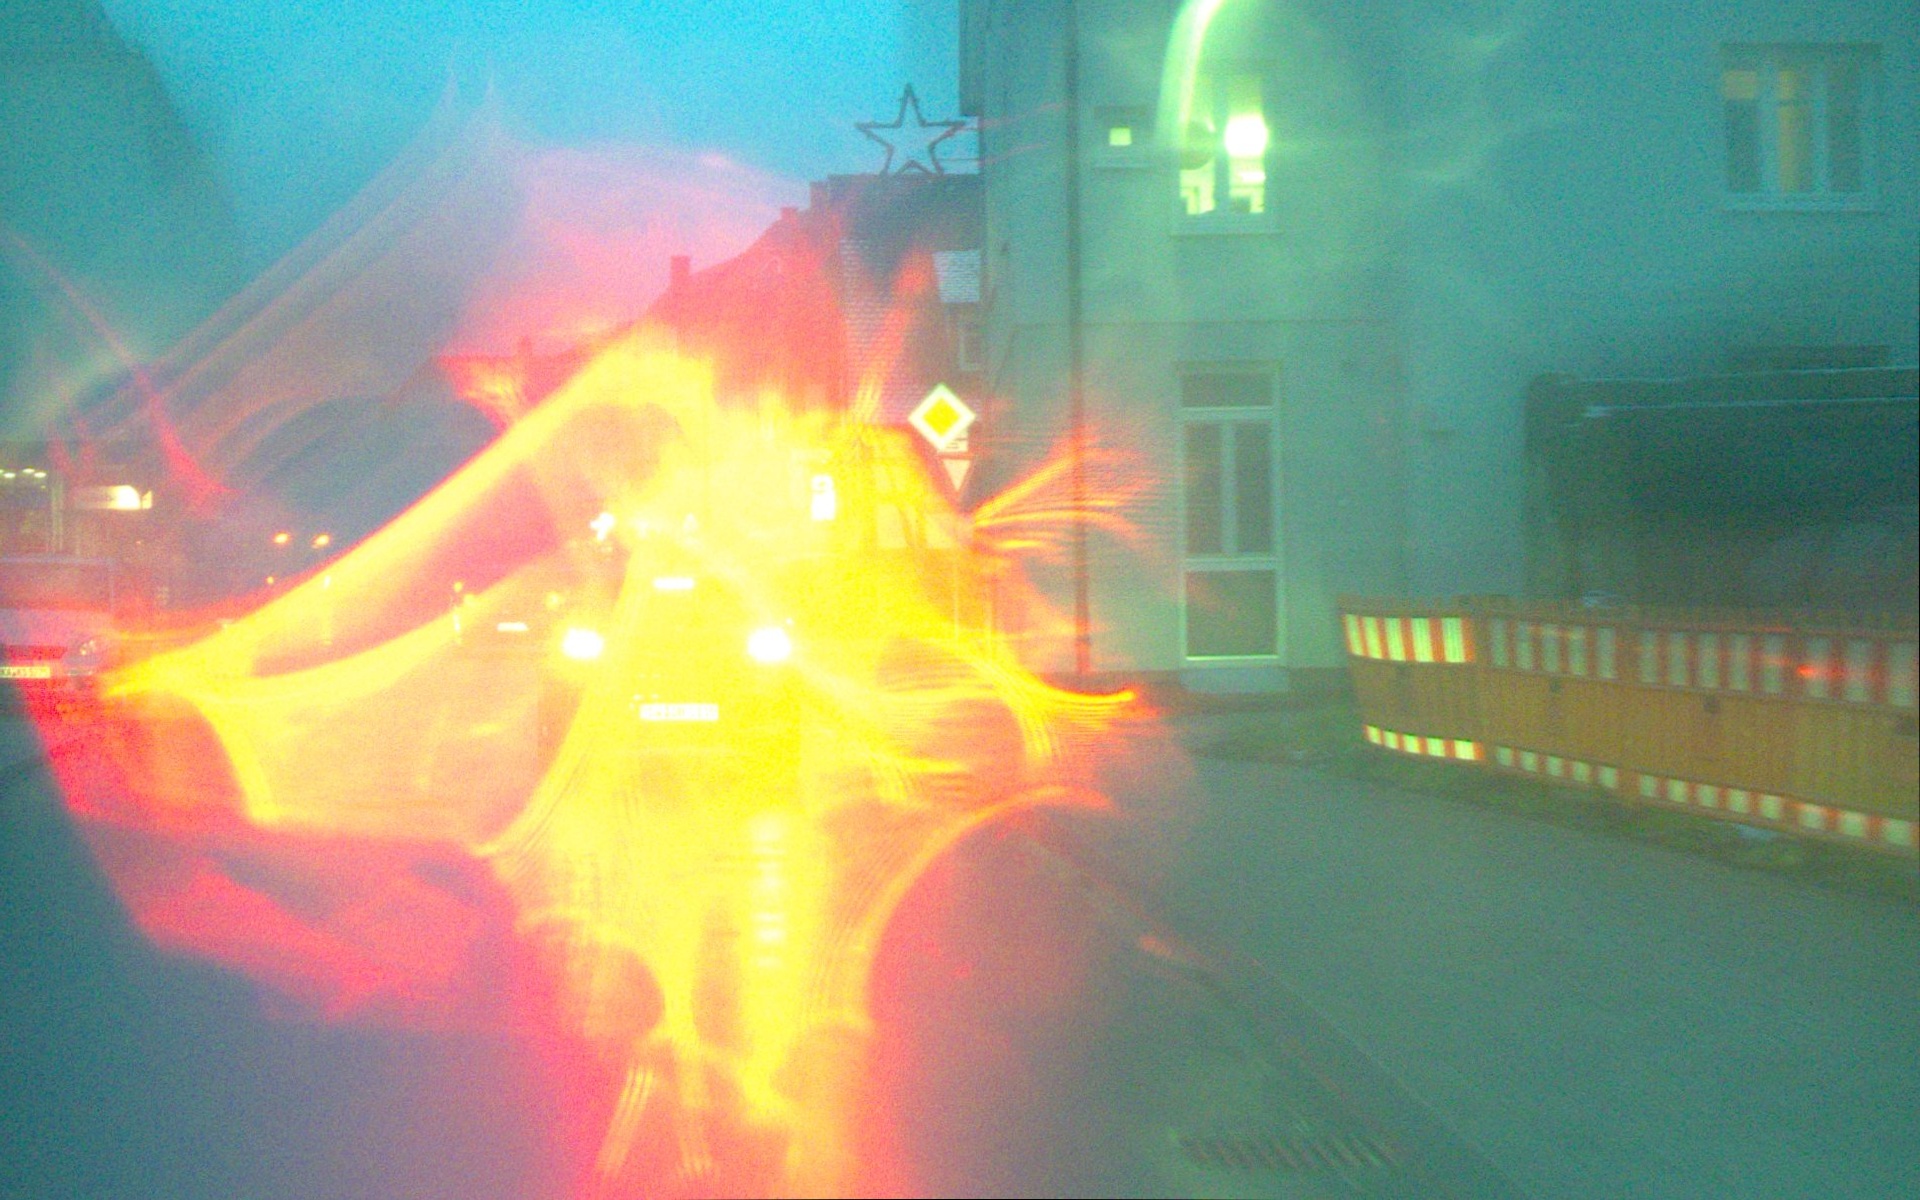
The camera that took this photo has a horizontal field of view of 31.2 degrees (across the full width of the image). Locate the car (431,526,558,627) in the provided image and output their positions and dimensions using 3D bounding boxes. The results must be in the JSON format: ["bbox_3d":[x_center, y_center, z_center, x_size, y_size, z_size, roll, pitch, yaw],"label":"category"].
[{"bbox_3d":[-7.616,-0.387,56.202,1.993,1.583,4.001,0,1,-8],"label":"car"}]

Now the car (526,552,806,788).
[{"bbox_3d":[-2.148,0.432,24.338,1.814,1.528,4.001,0,1,-7],"label":"car"}]

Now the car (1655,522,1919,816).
[{"bbox_3d":[5.387,0.302,18.752,1.886,1.457,3.634,-1,1,-11],"label":"car"}]

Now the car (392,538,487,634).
[{"bbox_3d":[-12.154,-0.347,80.470,1.993,2.195,4.001,0,1,-6],"label":"car"}]
